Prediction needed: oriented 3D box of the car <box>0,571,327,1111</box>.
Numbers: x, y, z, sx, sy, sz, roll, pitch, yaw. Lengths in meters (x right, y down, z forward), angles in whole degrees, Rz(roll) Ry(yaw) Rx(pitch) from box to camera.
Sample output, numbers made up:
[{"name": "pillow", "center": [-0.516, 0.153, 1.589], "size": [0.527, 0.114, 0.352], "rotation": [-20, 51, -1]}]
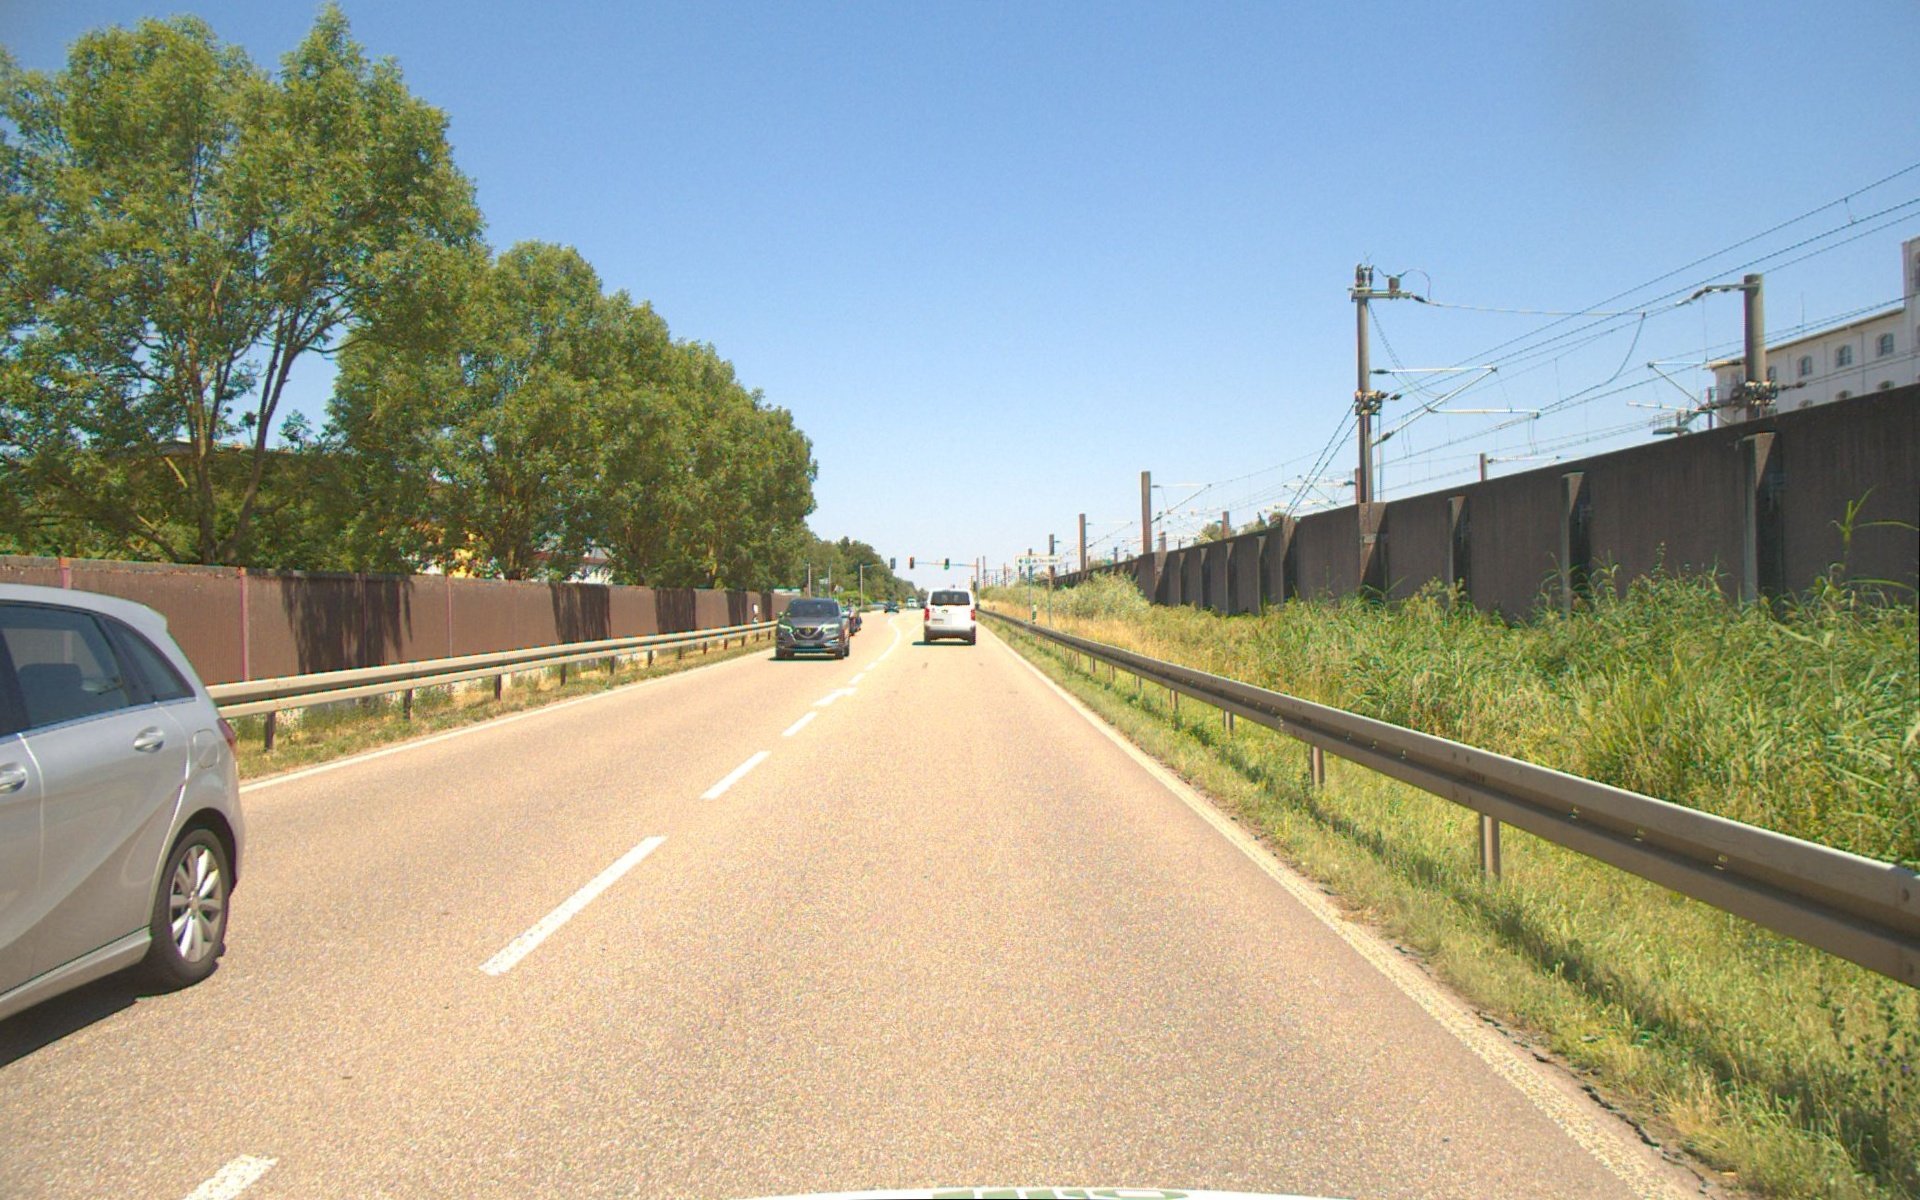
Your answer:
[{"name": "car", "center": [-3.641, 0.696, 5.010], "size": [1.753, 1.552, 4.390], "rotation": [0, 0, 0]}]

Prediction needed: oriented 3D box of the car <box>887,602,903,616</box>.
[{"name": "car", "center": [-7.840, 1.047, 199.623], "size": [1.783, 1.624, 3.999], "rotation": [1, 0, -2]}]

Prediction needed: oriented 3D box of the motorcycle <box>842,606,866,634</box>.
[{"name": "motorcycle", "center": [-4.517, 0.832, 70.675], "size": [0.934, 1.127, 2.335], "rotation": [1, 0, -1]}]

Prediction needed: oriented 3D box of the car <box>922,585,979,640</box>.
[{"name": "car", "center": [-0.335, 0.421, 58.621], "size": [1.953, 1.882, 4.000], "rotation": [1, 0, 0]}]

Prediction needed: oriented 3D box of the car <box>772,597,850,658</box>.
[{"name": "car", "center": [-3.924, 0.690, 44.091], "size": [1.753, 1.552, 4.389], "rotation": [0, 0, -1]}]

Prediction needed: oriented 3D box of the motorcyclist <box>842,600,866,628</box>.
[{"name": "motorcyclist", "center": [-4.522, 0.612, 70.640], "size": [0.918, 1.150, 0.927], "rotation": [2, 0, -1]}]
